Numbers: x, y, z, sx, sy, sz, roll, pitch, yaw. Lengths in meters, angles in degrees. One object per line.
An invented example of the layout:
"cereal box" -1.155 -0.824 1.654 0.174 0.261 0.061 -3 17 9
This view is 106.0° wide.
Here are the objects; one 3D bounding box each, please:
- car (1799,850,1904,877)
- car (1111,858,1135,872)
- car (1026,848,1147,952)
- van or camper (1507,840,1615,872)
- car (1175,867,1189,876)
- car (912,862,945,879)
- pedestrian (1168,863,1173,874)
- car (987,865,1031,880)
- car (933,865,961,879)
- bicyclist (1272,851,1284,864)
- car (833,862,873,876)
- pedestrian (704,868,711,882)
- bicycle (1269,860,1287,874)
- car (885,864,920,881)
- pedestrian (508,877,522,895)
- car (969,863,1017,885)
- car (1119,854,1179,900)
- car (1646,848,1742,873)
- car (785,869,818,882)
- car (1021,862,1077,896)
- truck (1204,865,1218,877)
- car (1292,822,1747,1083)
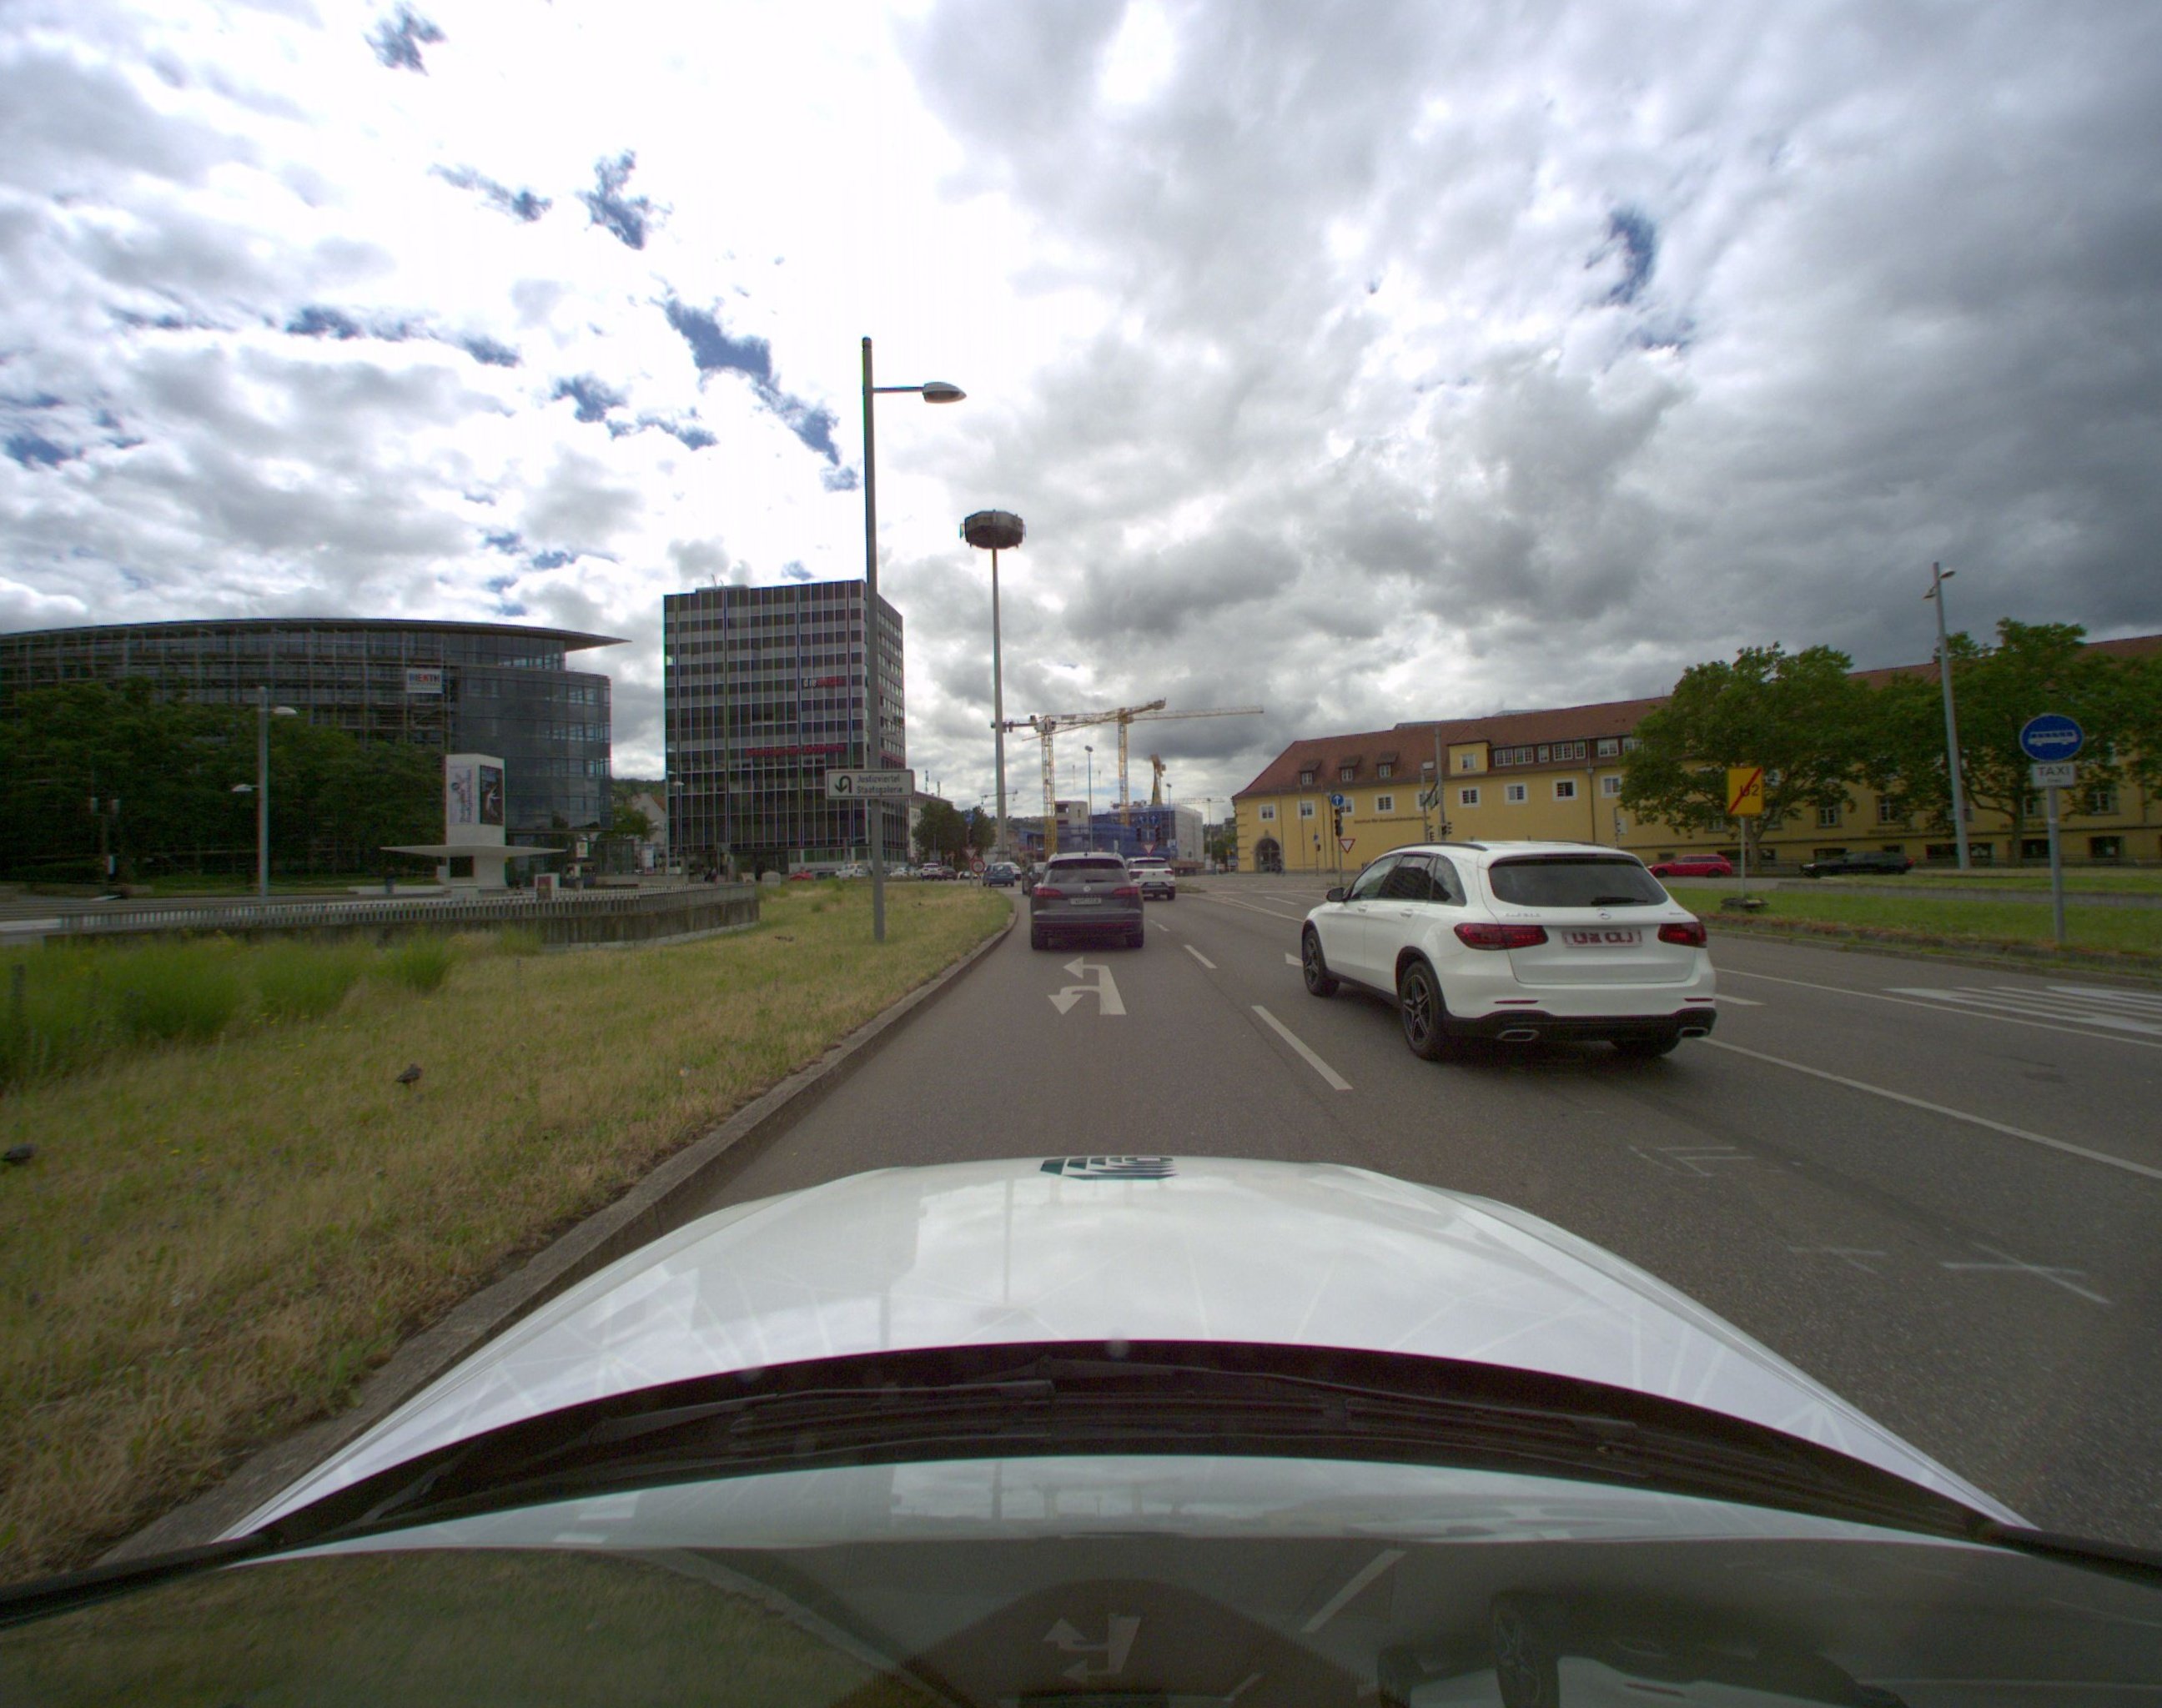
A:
"car" 43.496 0.555 46.080 4.037 1.413 1.670 -2 -1 34
"car" 5.338 1.404 102.690 1.971 1.667 4.001 -1 0 20
"car" 0.160 0.737 15.191 1.925 1.647 4.002 -1 0 2
"van or camper" 31.853 0.161 54.123 5.947 2.014 2.032 -2 -1 37
"car" 17.709 2.988 142.649 1.790 1.502 3.996 -1 0 14
"car" -14.315 1.516 76.222 1.826 1.496 3.868 -1 0 -30
"pedestrian" 10.429 1.675 94.764 0.544 1.282 0.464 -1 -1 18
"car" -5.846 1.499 65.758 1.683 1.139 4.025 -1 -1 -36
"car" -13.760 1.792 83.415 1.651 1.396 3.561 -1 0 -32
"bicyclist" 17.376 0.289 71.852 0.921 1.159 0.724 0 -1 -3
"car" -26.143 1.724 93.344 4.552 1.502 2.266 -1 0 42
"pedestrian" -41.825 2.382 91.168 0.627 1.593 0.584 0 -1 -38
"bicycle" 17.378 1.123 71.843 0.921 1.159 2.462 0 -1 -2
"car" -20.428 2.090 93.022 3.950 1.610 1.912 3 6 42
"pedestrian" -34.844 1.981 50.115 0.473 1.081 0.560 0 -1 3
"car" -5.651 1.266 52.065 1.802 1.356 4.035 -1 -1 -26
"car" 2.484 0.816 30.608 1.888 1.585 3.800 -1 0 -1
"car" 37.528 0.426 50.006 4.632 1.420 1.607 -2 -1 34
"car" -34.275 2.648 99.812 3.930 1.502 1.735 -1 0 31
"car" -1.435 1.039 35.046 1.794 1.356 4.054 -1 -1 -11
"truck" 27.498 3.667 172.476 2.111 2.453 4.849 -1 0 17
"car" 3.387 0.627 7.423 1.813 1.647 4.379 -1 0 0
